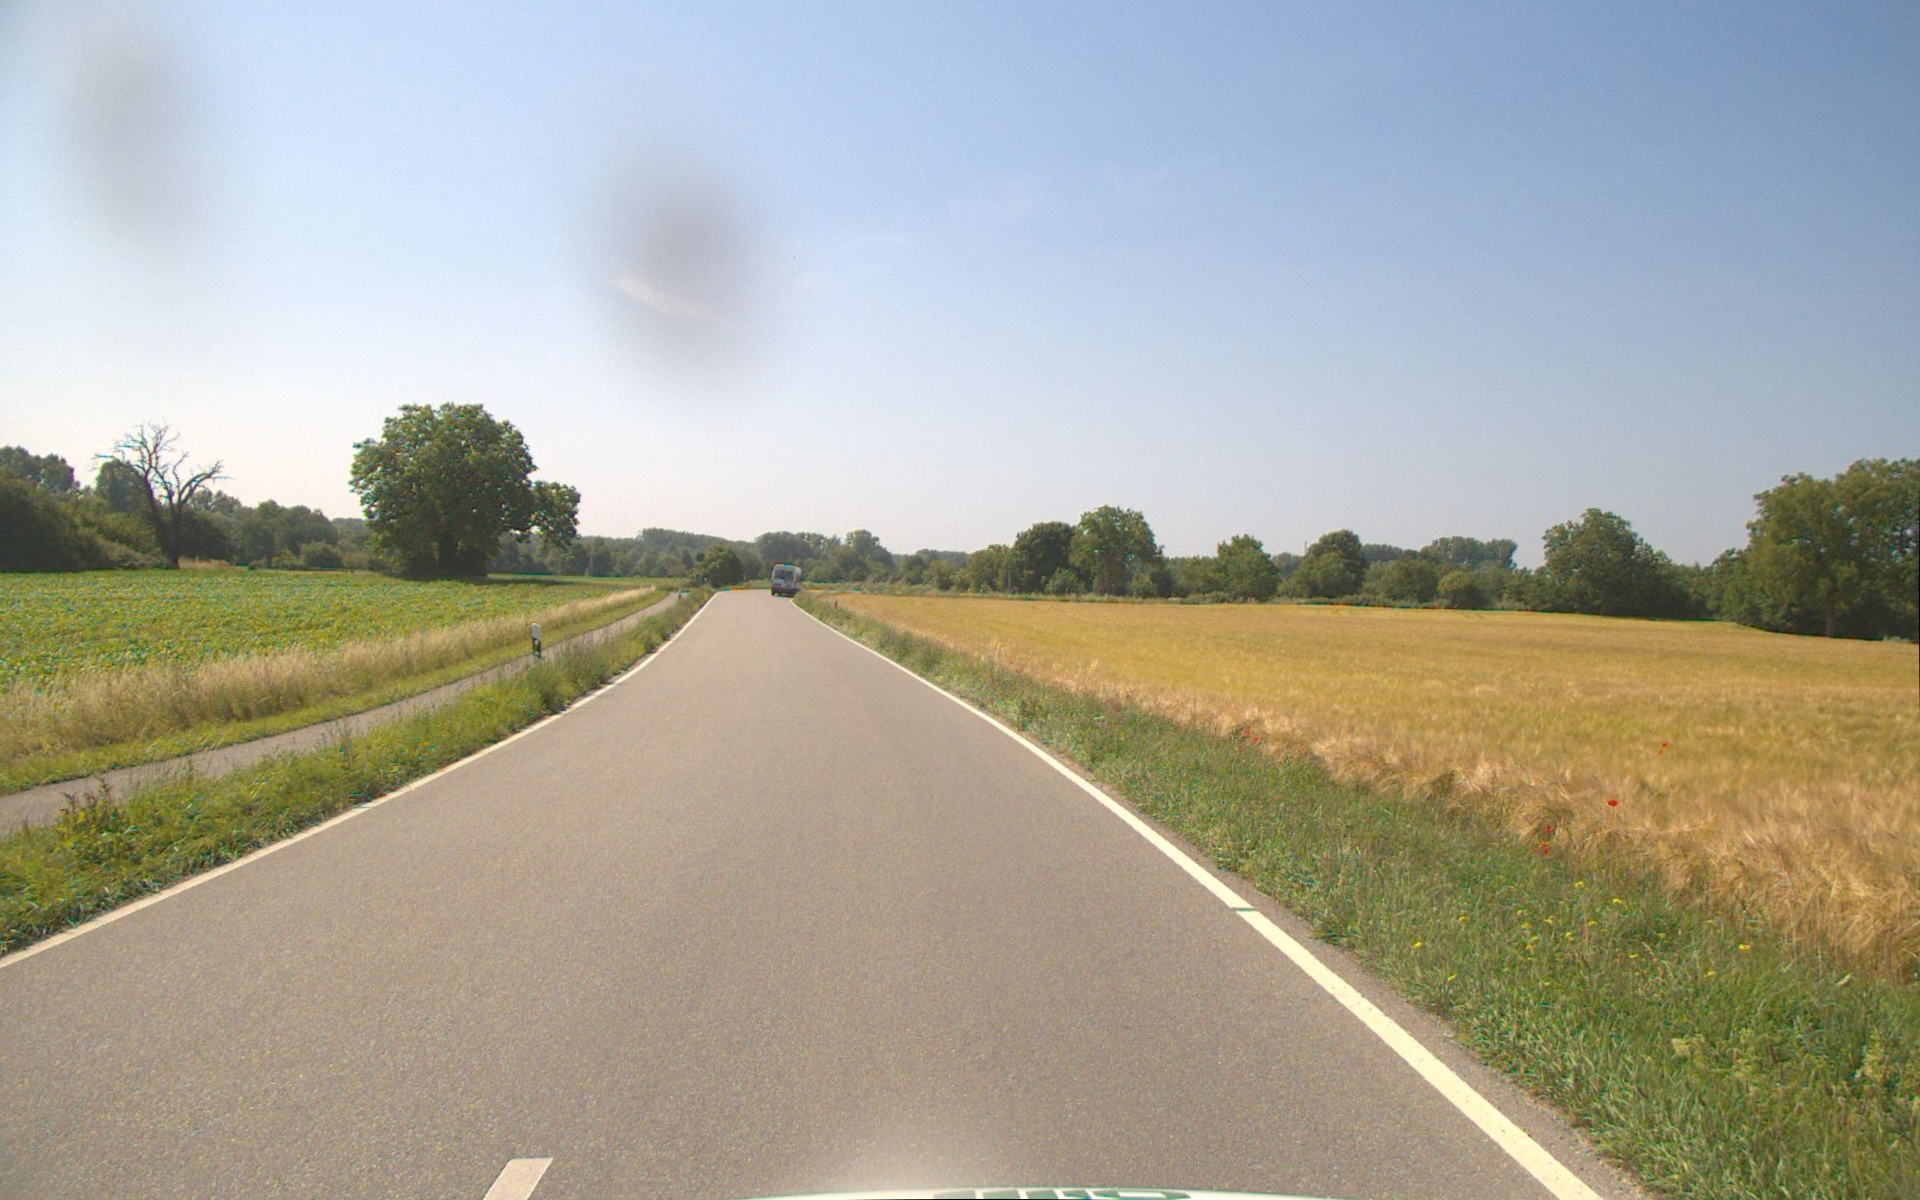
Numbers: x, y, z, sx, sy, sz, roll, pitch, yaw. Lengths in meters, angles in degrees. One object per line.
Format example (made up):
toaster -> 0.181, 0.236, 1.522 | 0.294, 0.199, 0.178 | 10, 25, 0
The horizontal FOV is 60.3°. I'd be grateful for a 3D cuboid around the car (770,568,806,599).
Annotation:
car -> -14.005, -1.364, 135.151 | 2.060, 2.408, 5.689 | 1, 1, 3
